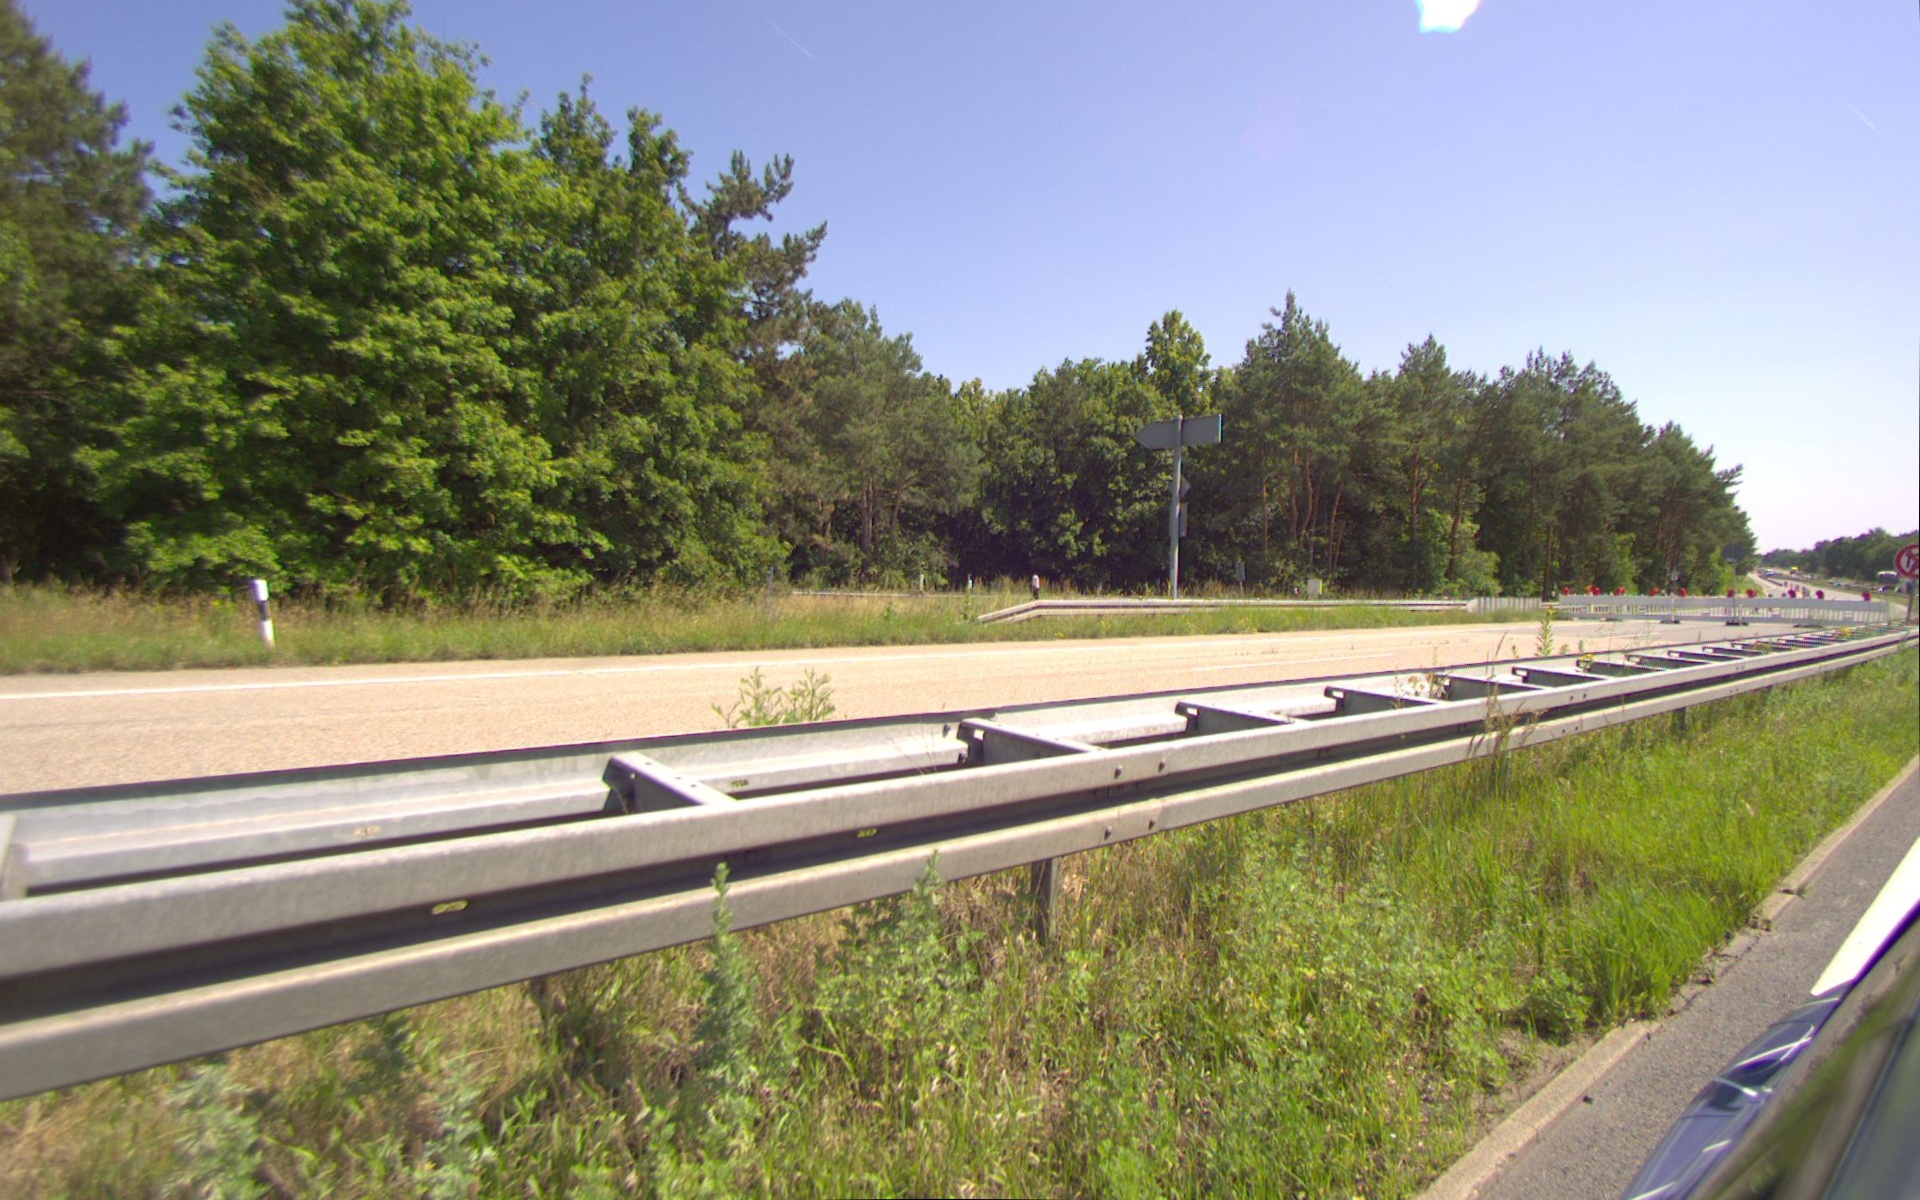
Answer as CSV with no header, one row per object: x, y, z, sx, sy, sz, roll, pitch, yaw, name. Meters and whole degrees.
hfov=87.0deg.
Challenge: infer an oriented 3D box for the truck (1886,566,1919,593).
157.625,-3.419,169.323,3.819,4.343,11.072,2,2,43,truck
